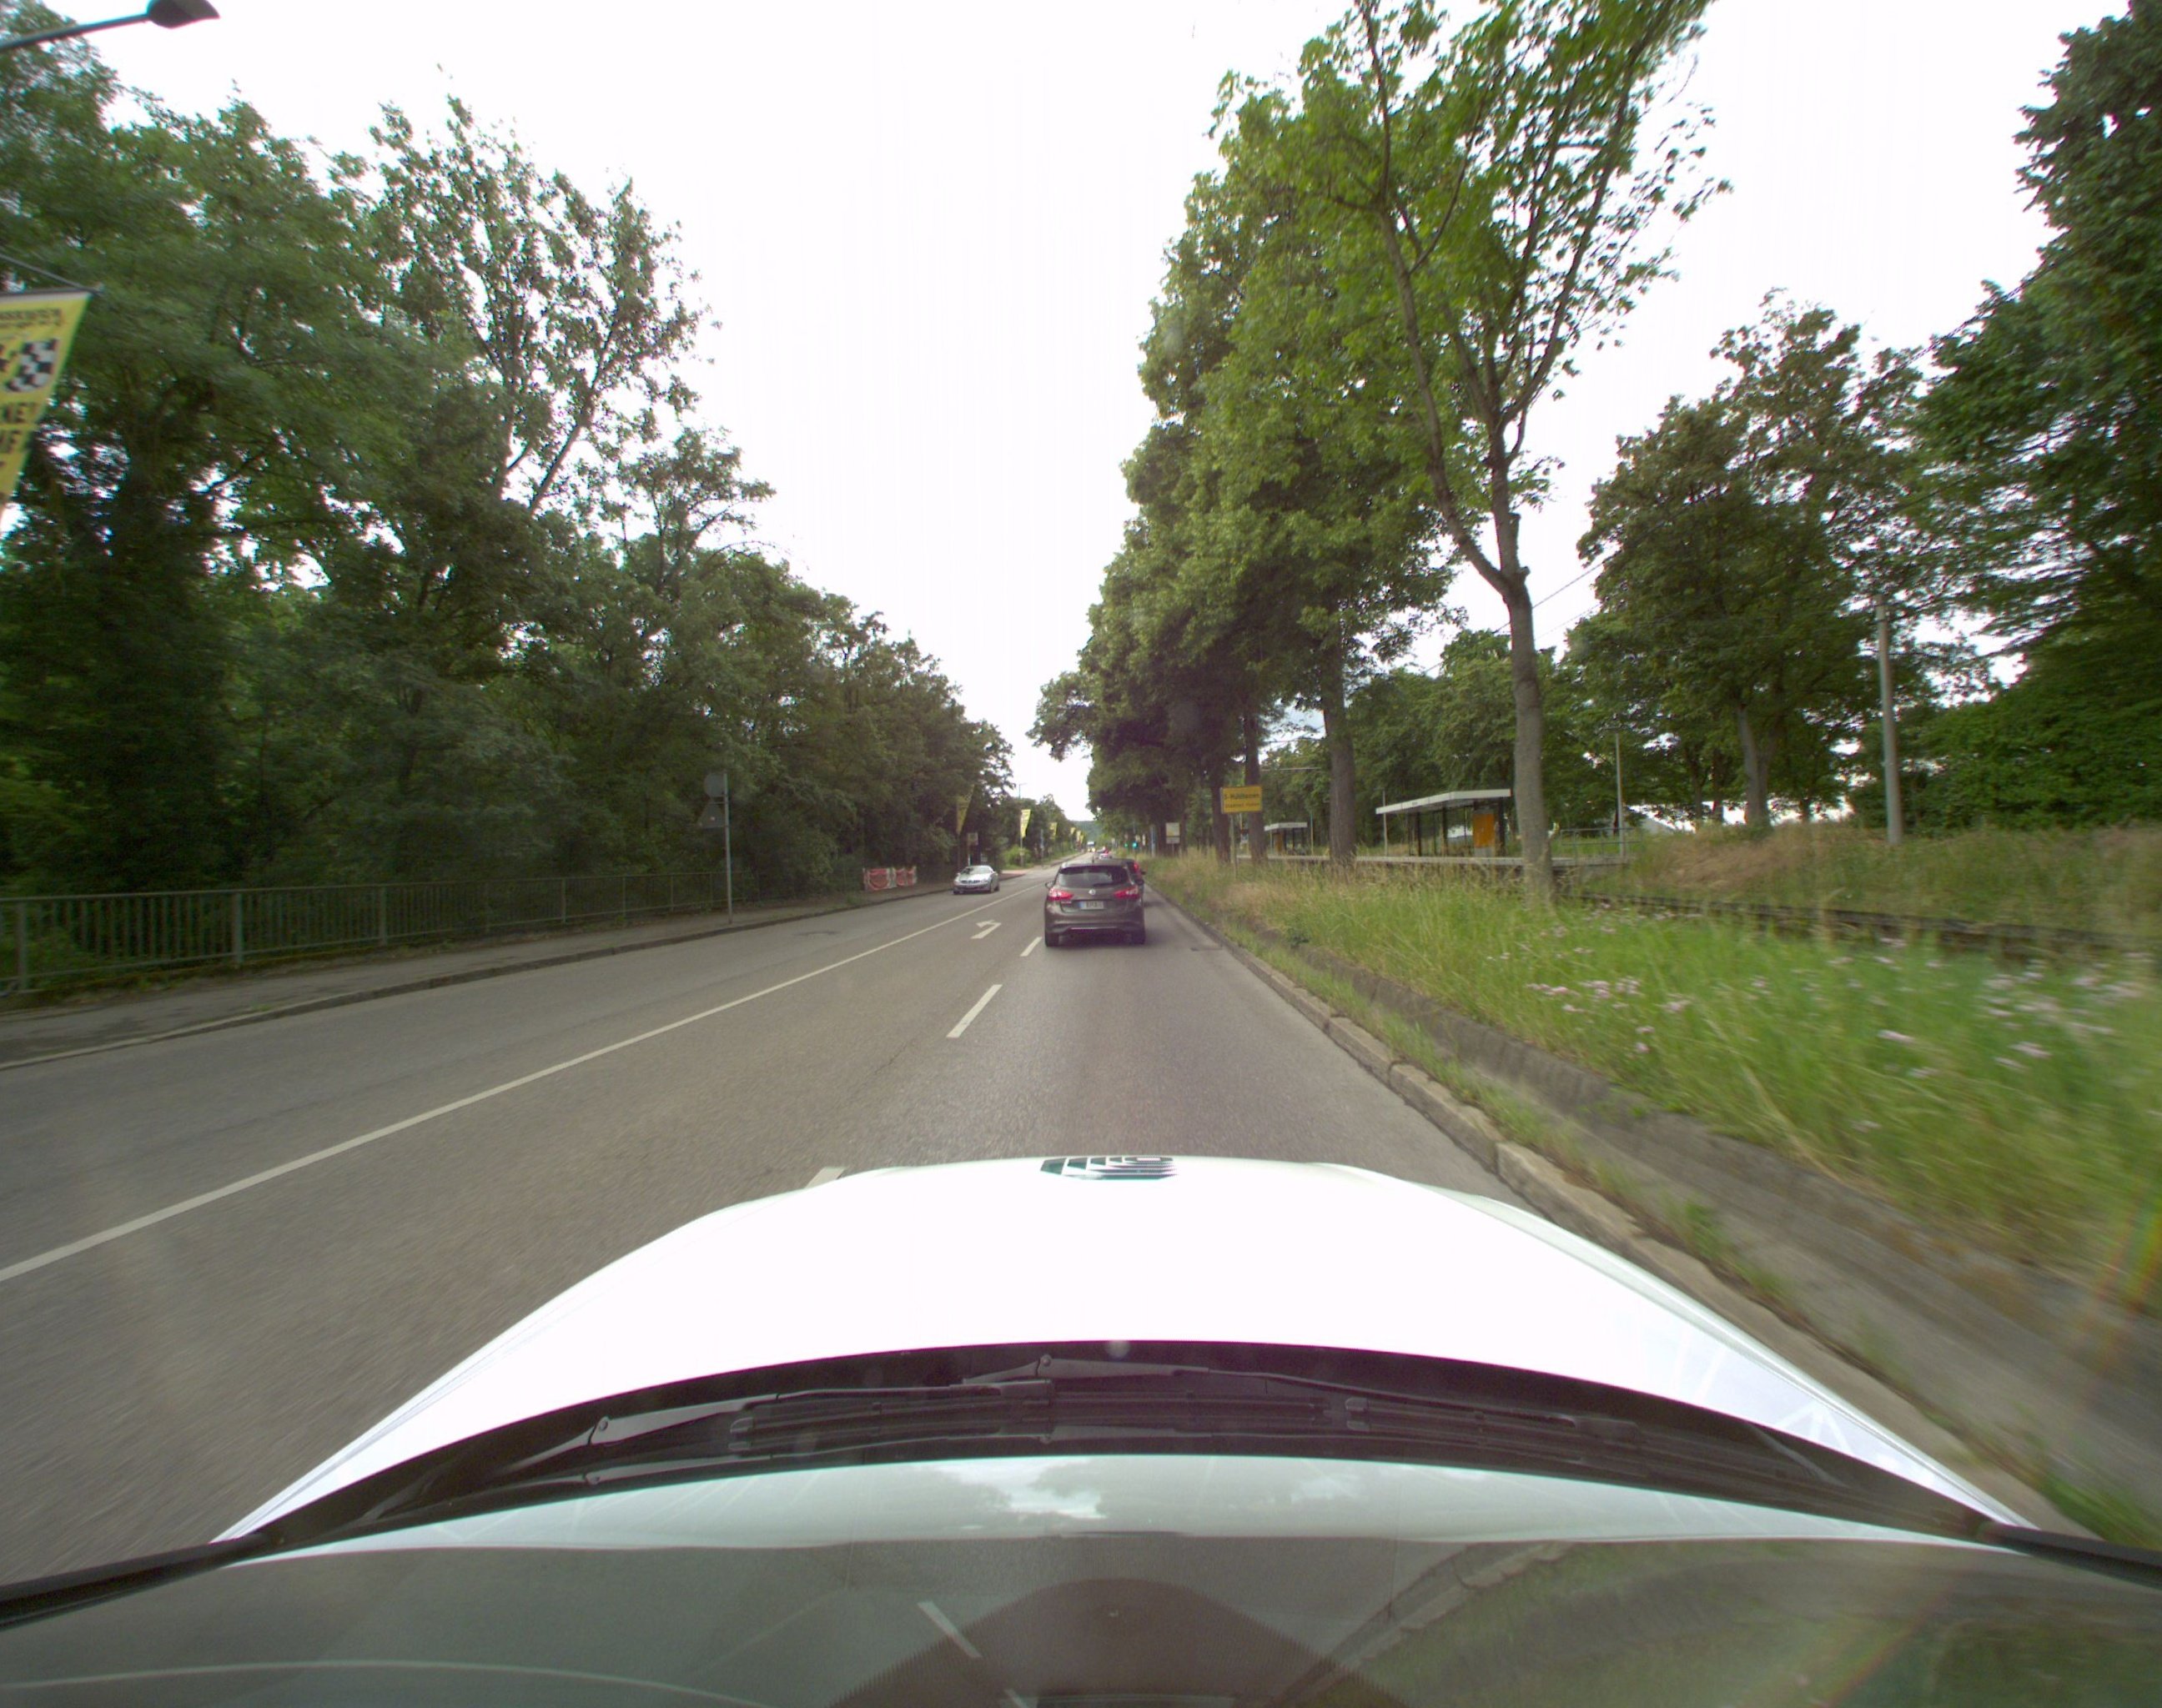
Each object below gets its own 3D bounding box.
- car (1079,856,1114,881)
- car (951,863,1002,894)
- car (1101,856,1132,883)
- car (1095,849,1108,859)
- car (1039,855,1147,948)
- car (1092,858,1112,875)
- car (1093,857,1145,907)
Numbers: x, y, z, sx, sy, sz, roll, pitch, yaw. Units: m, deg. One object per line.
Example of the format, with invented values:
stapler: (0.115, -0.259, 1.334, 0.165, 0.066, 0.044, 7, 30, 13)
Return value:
car: (0.955, 0.870, 48.022, 1.986, 1.412, 4.001, 0, -1, 2)
car: (-4.884, 1.108, 38.469, 1.751, 1.337, 3.698, -2, 0, 2)
car: (2.063, 0.878, 47.654, 1.685, 1.441, 3.543, -1, 0, 2)
car: (3.274, 0.062, 127.536, 1.986, 1.574, 4.001, 0, -1, 2)
car: (0.274, 0.805, 15.480, 1.776, 1.507, 3.698, -2, 0, 2)
car: (1.875, 1.084, 71.638, 1.685, 1.441, 3.543, -1, 0, 2)
car: (1.189, 0.836, 25.869, 1.496, 1.441, 3.543, -1, 0, 2)
